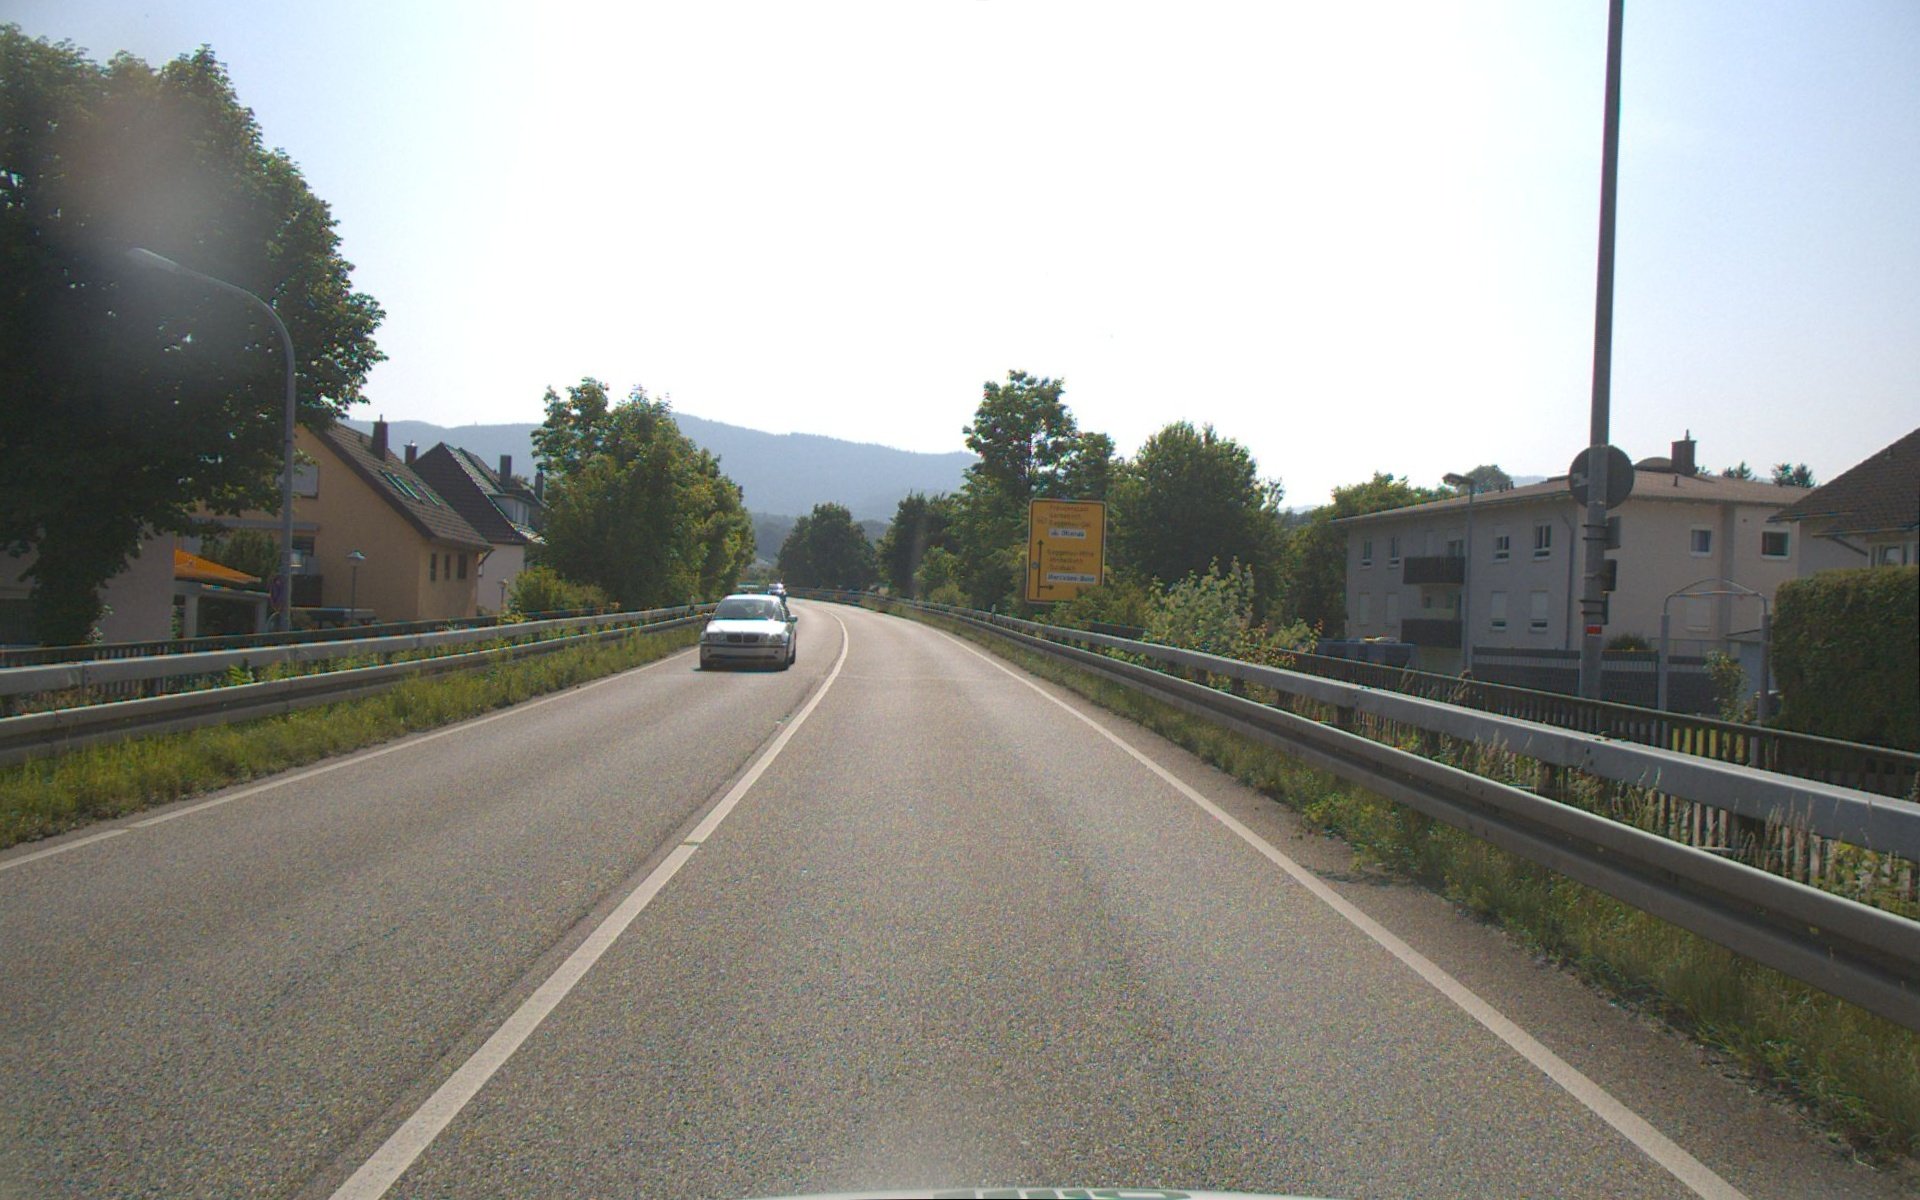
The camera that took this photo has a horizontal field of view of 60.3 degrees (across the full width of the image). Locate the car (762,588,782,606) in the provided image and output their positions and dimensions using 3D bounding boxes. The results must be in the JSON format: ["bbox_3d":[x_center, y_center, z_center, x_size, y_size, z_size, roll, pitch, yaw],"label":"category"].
[{"bbox_3d":[-17.163,-0.254,150.992,1.772,1.588,3.987,0,0,-6],"label":"car"}]

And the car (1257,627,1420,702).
[{"bbox_3d":[15.158,2.612,66.437,5.953,2.735,2.310,3,-4,-4],"label":"car"}]

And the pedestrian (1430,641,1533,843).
[{"bbox_3d":[5.535,1.480,17.611,0.771,2.049,0.997,1,0,1],"label":"pedestrian"}]

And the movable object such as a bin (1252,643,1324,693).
[{"bbox_3d":[14.683,3.037,74.104,2.729,2.048,1.586,3,0,-4],"label":"movable object such as a bin"}]

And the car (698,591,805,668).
[{"bbox_3d":[-4.119,0.555,33.132,1.722,1.435,3.988,0,0,-2],"label":"car"}]
